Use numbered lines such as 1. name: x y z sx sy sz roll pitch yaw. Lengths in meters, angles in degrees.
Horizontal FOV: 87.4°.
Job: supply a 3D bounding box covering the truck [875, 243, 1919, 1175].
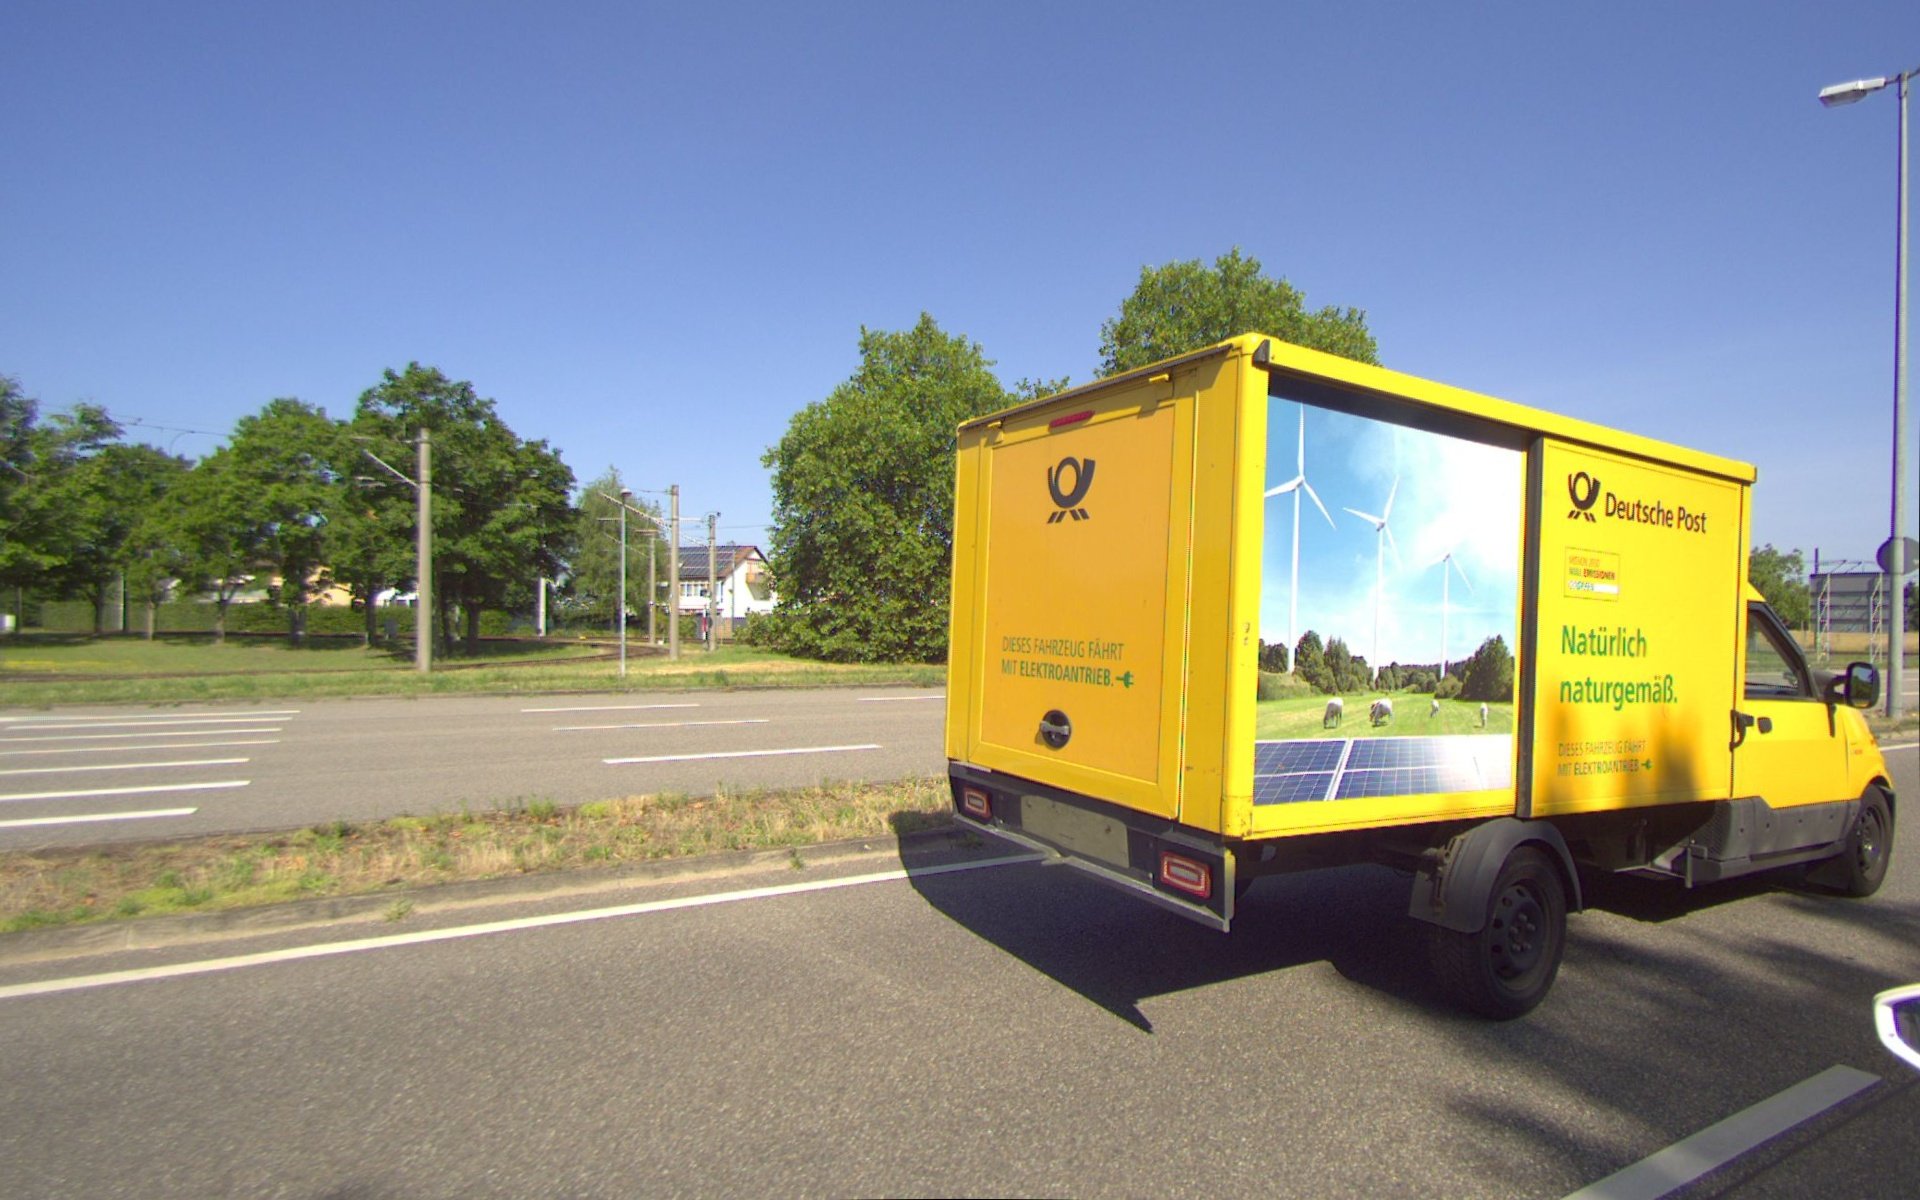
1. truck: 2.657 0.349 5.140 5.851 2.490 2.100 1 0 -32
